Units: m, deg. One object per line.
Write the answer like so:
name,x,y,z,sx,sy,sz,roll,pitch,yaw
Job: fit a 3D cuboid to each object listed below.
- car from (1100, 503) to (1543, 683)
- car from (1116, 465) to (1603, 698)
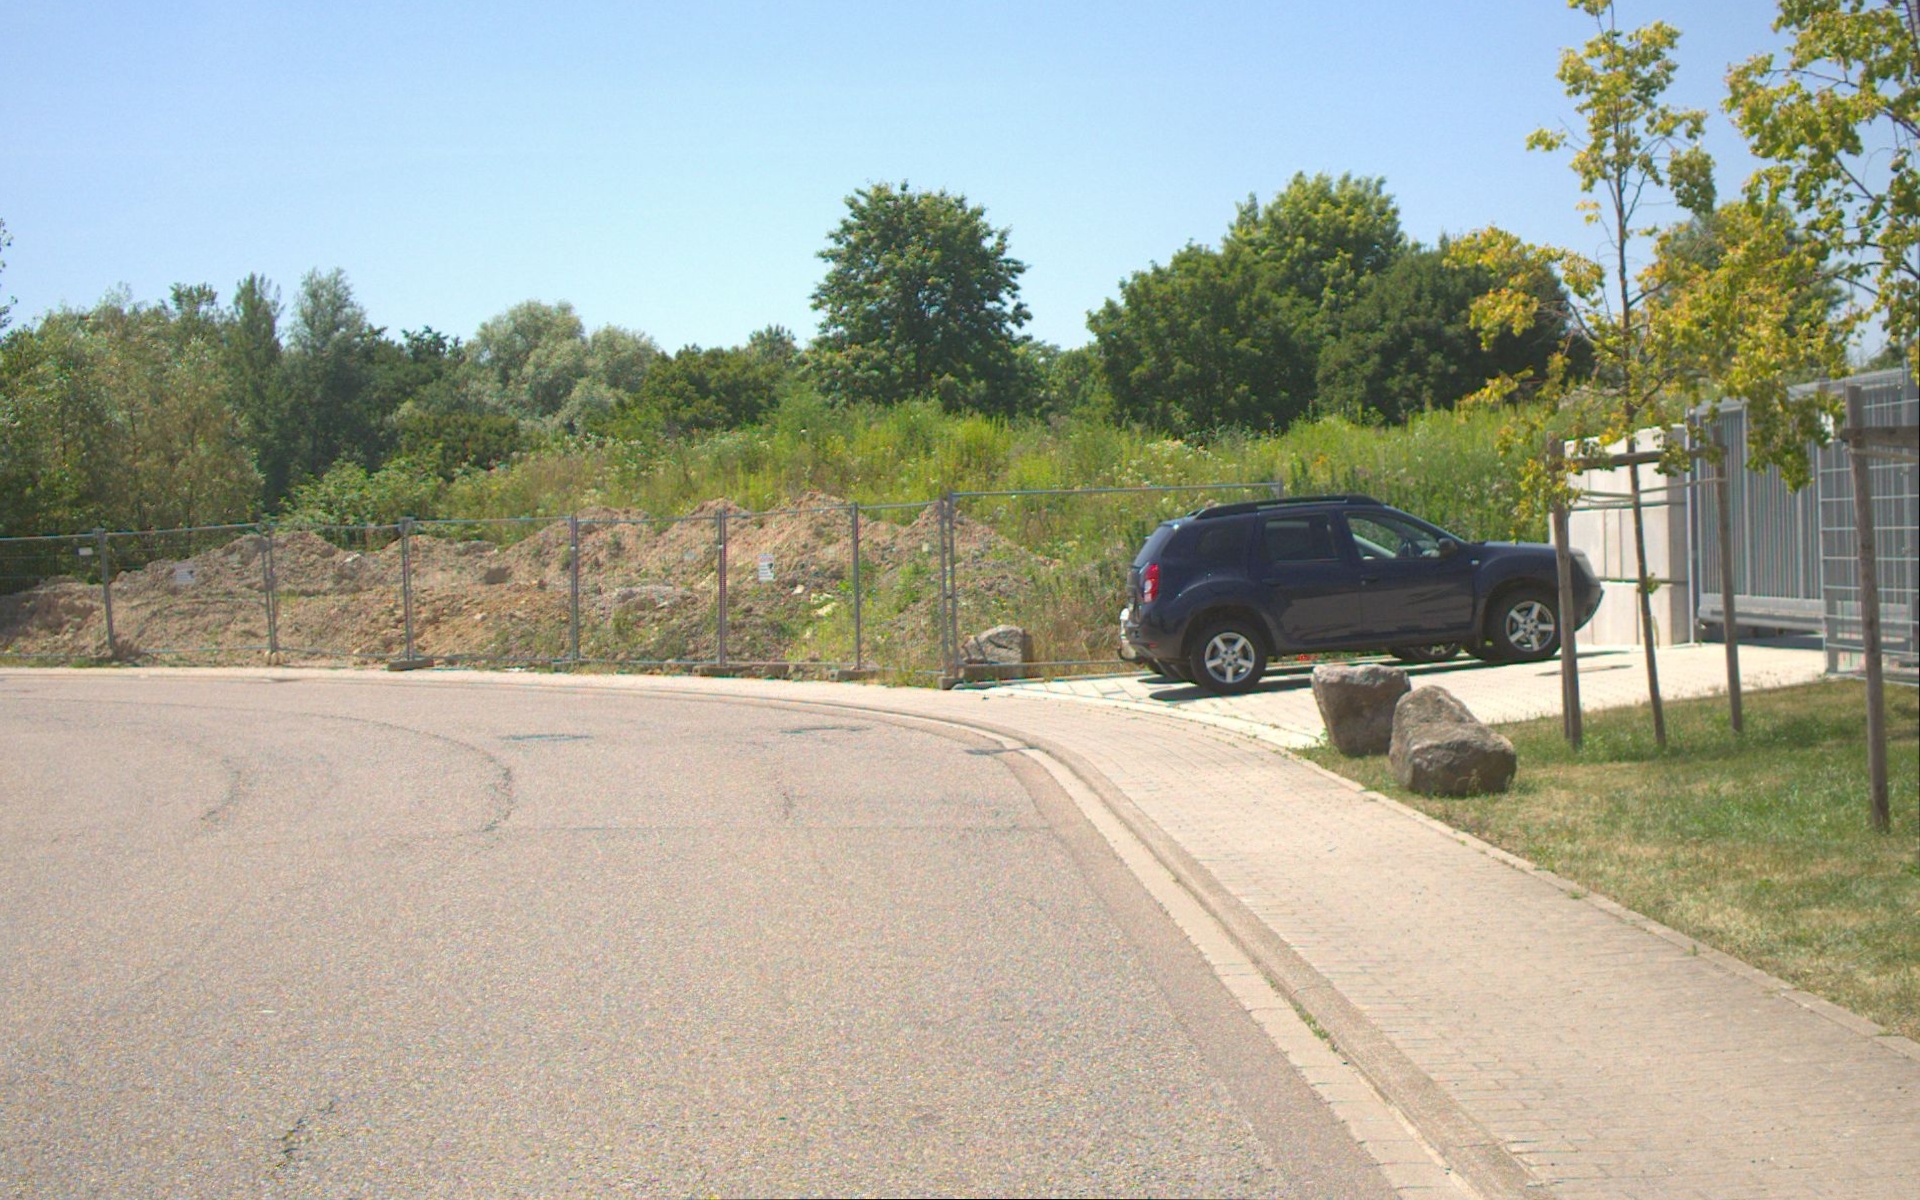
car,3.499,-0.087,33.775,4.009,1.457,1.893,-4,1,-2
car,3.565,-0.183,31.178,4.010,1.649,1.858,-6,1,-2
